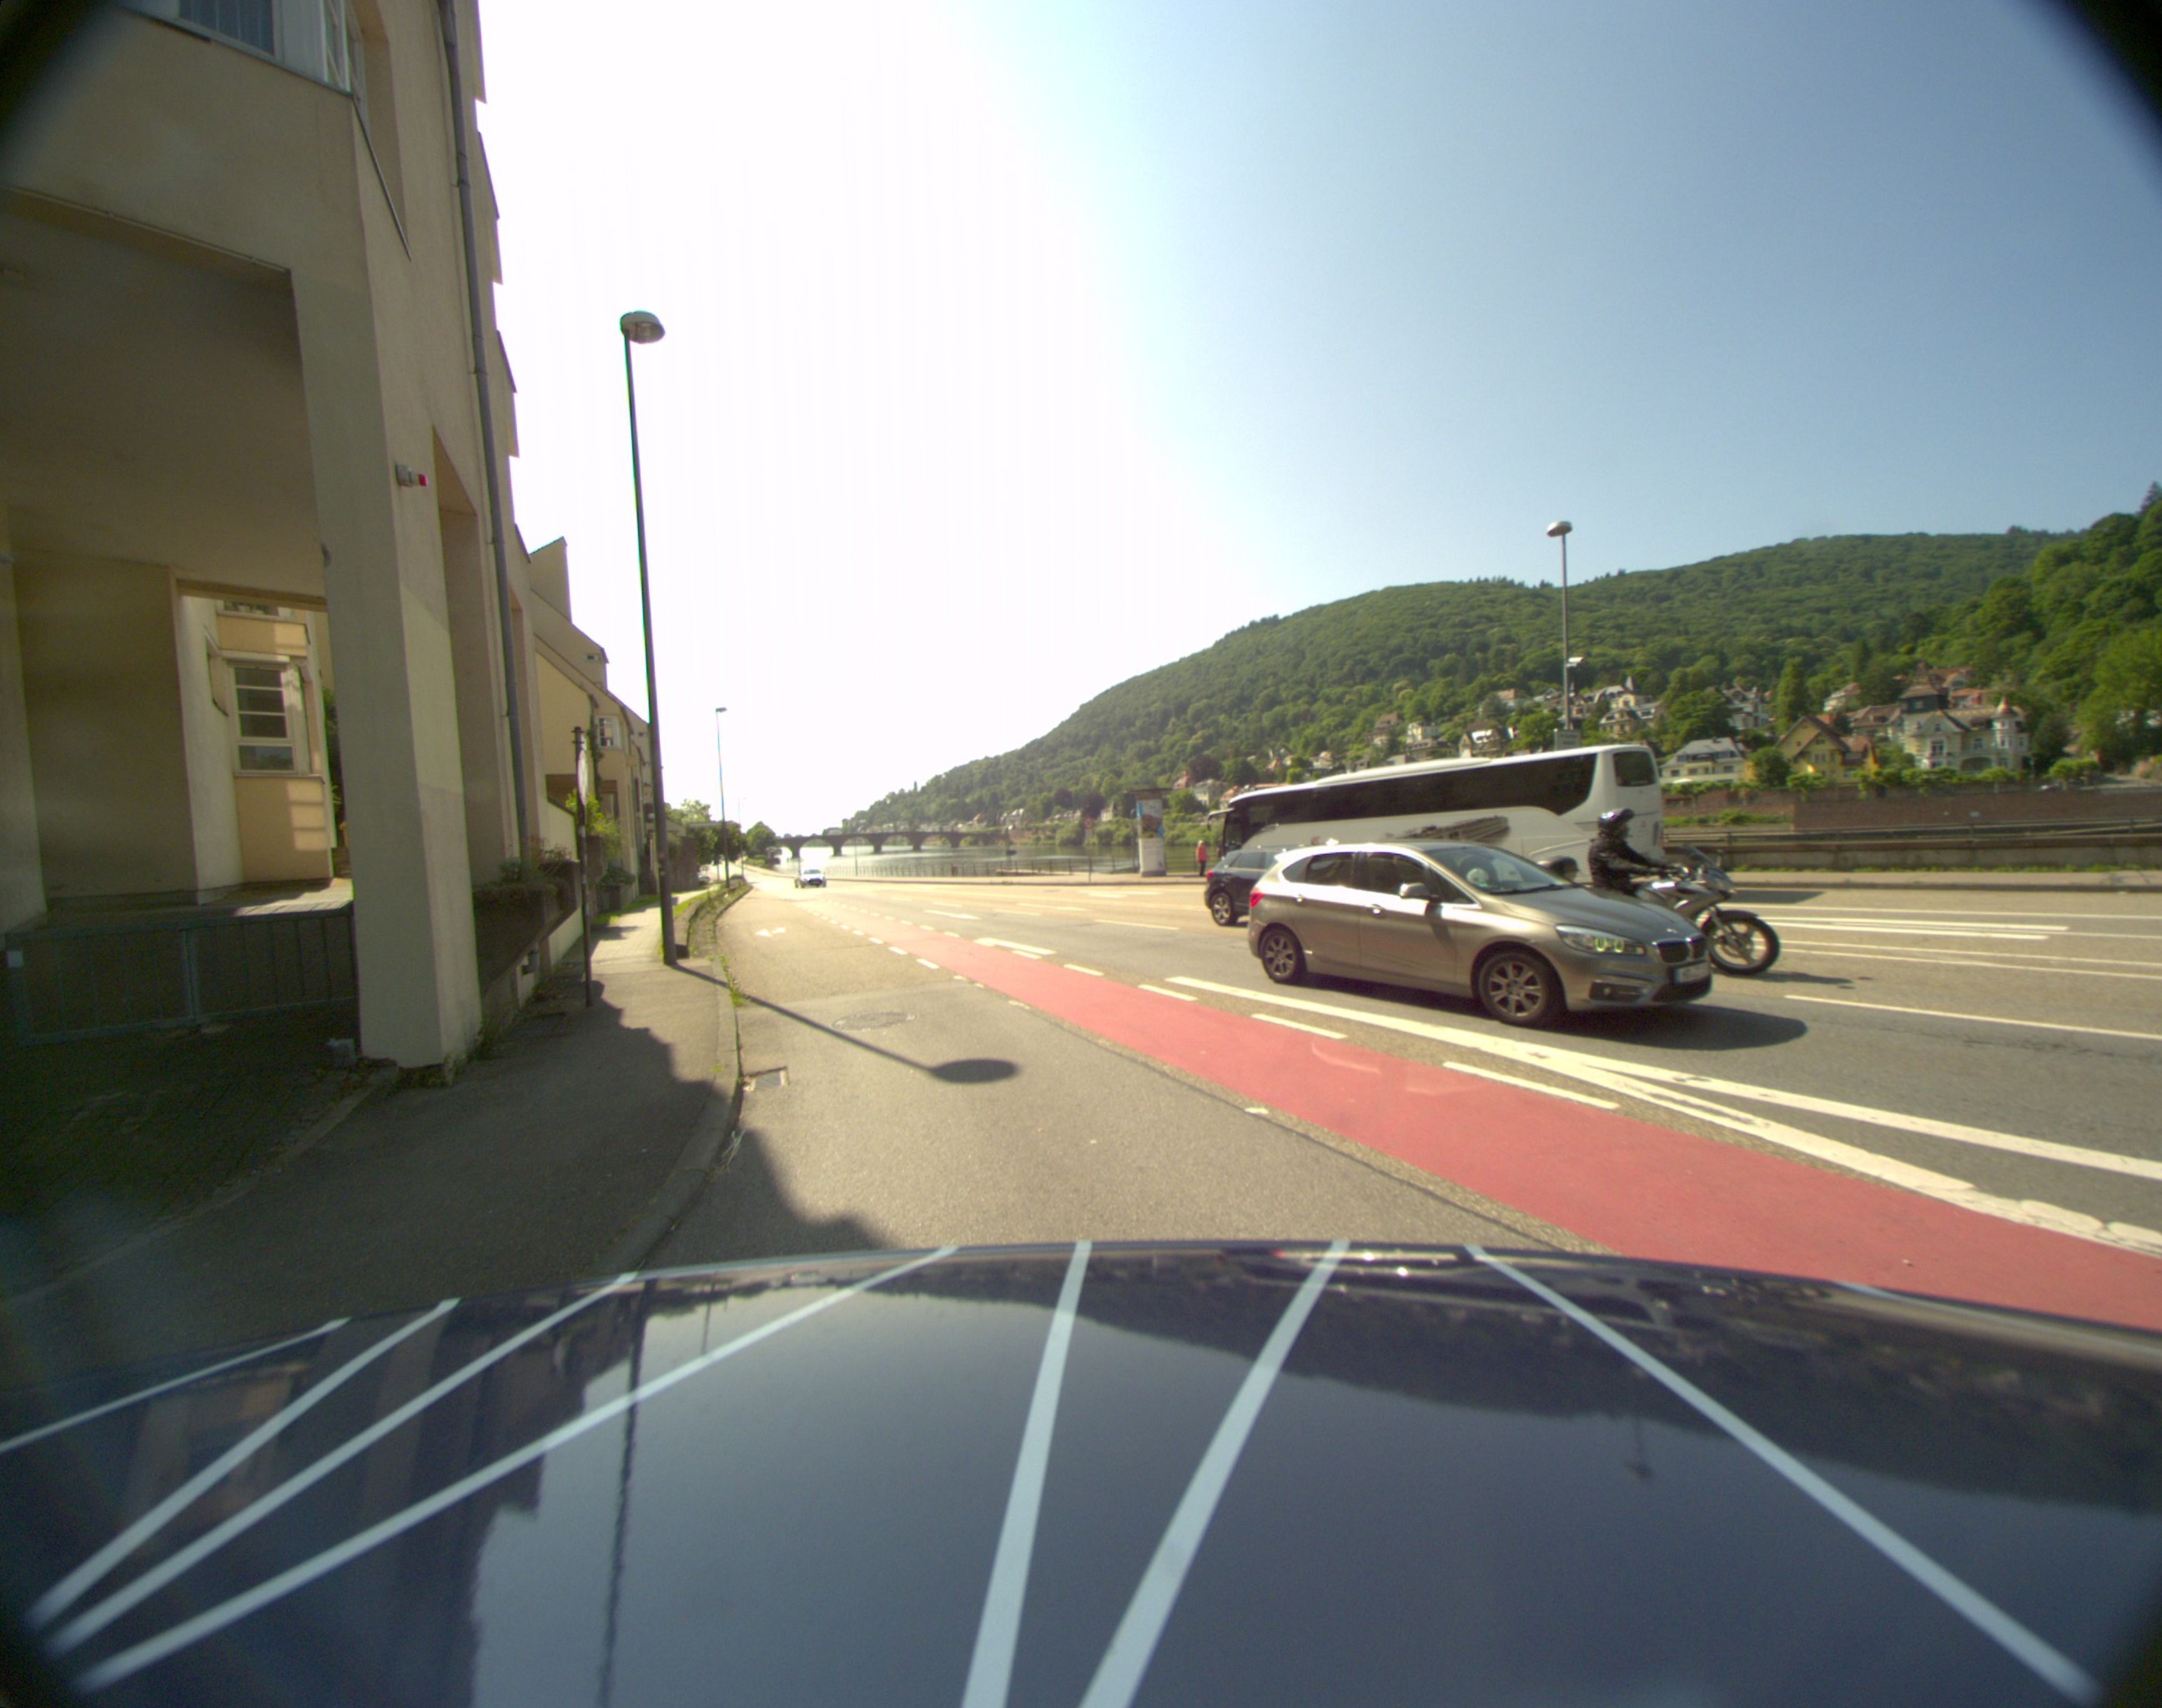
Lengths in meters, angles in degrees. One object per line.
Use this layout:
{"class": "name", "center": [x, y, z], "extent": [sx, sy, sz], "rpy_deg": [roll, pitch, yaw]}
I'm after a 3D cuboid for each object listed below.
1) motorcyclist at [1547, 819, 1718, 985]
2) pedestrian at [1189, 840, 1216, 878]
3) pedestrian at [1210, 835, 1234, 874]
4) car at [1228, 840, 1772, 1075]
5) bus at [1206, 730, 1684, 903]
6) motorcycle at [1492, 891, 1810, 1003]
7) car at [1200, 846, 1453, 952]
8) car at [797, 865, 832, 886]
{"class": "motorcyclist", "center": [6.115, 0.486, 8.461], "extent": [1.080, 1.674, 1.153], "rpy_deg": [-3, 1, -28]}
{"class": "pedestrian", "center": [5.386, 0.214, 33.712], "extent": [0.706, 1.612, 0.815], "rpy_deg": [-4, 2, -37]}
{"class": "pedestrian", "center": [6.433, 0.022, 34.720], "extent": [0.771, 1.699, 0.686], "rpy_deg": [-1, 2, 44]}
{"class": "car", "center": [3.604, 0.707, 7.452], "extent": [1.897, 1.512, 4.296], "rpy_deg": [-3, 1, -28]}
{"class": "bus", "center": [9.553, -0.793, 22.991], "extent": [2.970, 3.780, 13.212], "rpy_deg": [-7, 3, -33]}
{"class": "motorcycle", "center": [6.126, 0.928, 8.416], "extent": [1.042, 0.914, 2.599], "rpy_deg": [-3, 0, -28]}
{"class": "car", "center": [4.135, 0.666, 13.523], "extent": [1.877, 1.505, 4.142], "rpy_deg": [-3, 1, -27]}
{"class": "car", "center": [-19.818, 1.580, 56.471], "extent": [2.002, 1.433, 3.992], "rpy_deg": [-3, 0, -25]}
